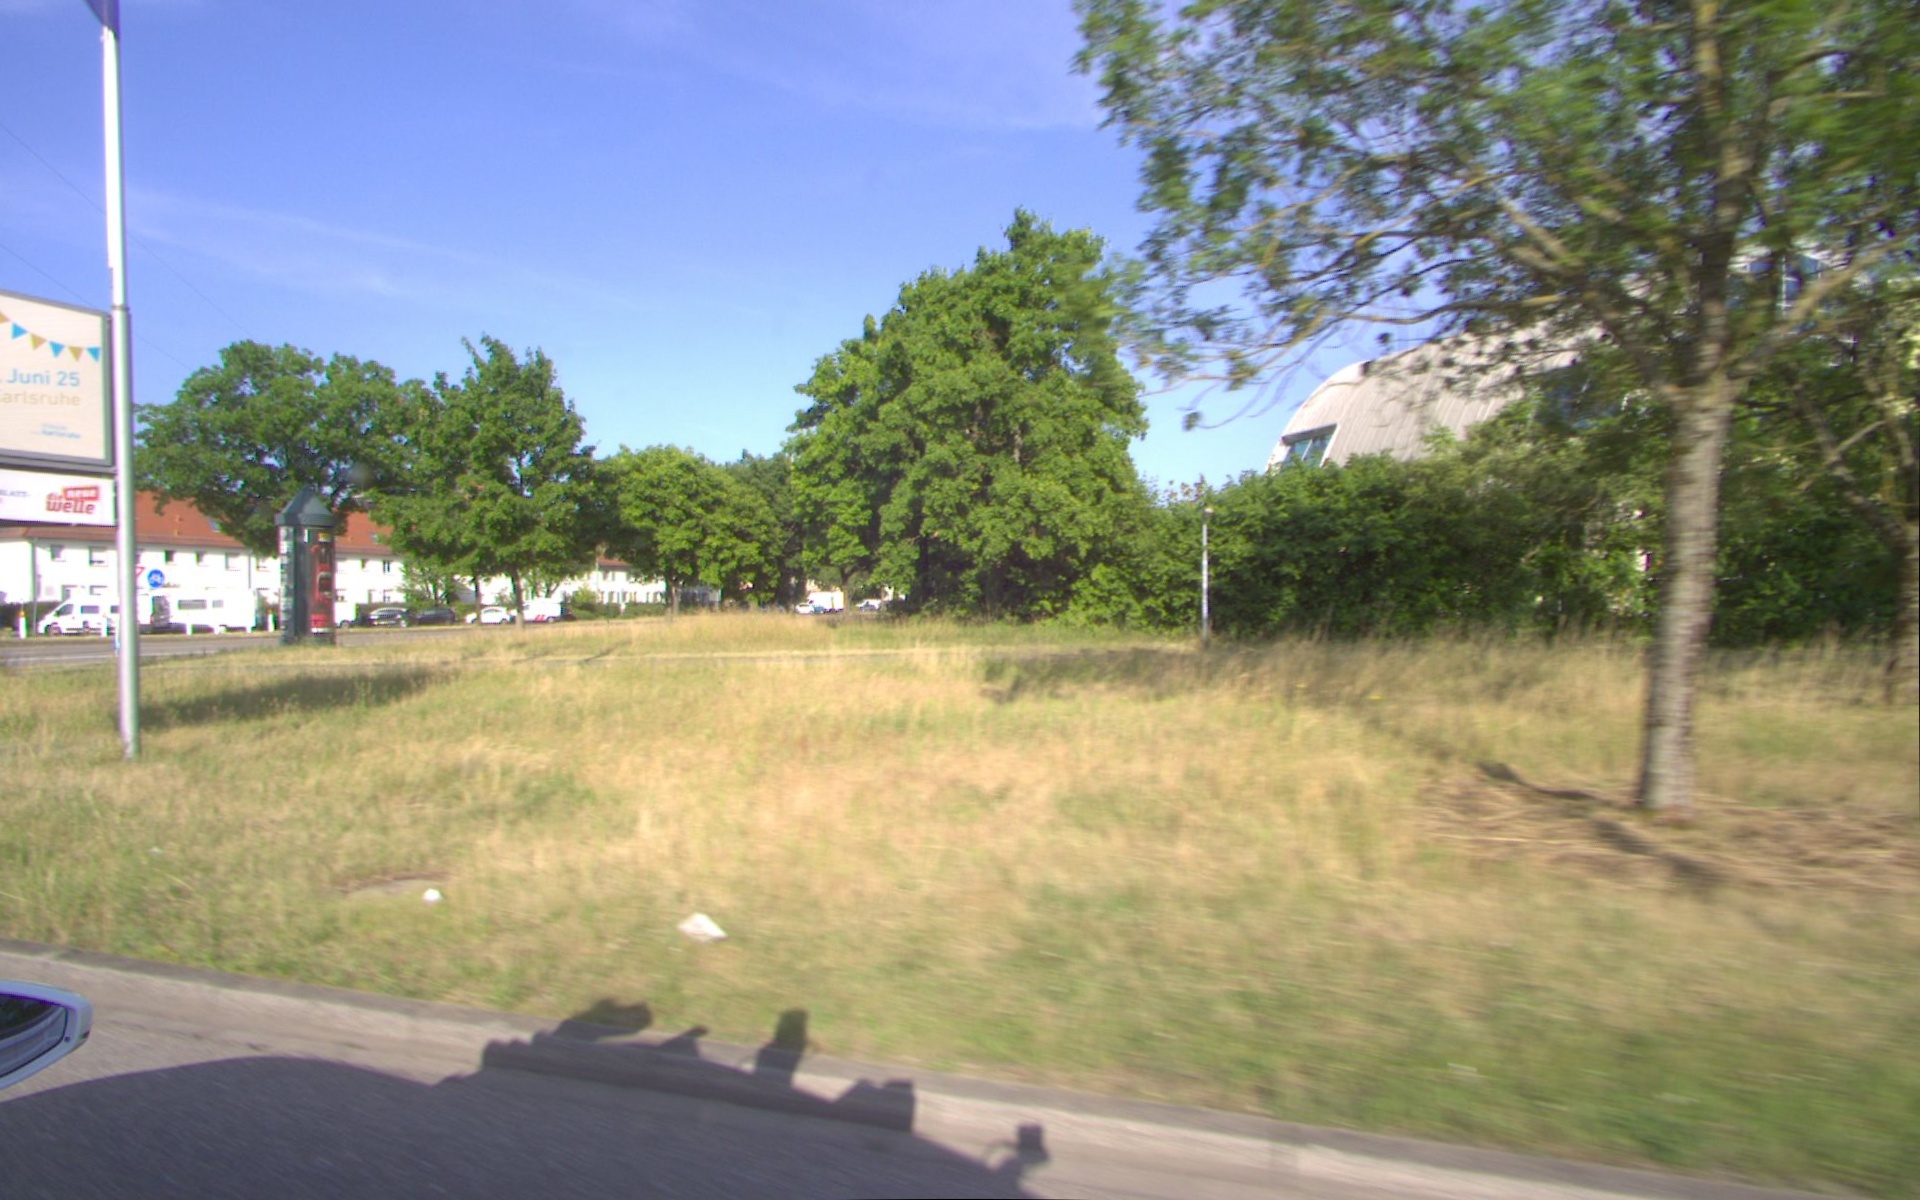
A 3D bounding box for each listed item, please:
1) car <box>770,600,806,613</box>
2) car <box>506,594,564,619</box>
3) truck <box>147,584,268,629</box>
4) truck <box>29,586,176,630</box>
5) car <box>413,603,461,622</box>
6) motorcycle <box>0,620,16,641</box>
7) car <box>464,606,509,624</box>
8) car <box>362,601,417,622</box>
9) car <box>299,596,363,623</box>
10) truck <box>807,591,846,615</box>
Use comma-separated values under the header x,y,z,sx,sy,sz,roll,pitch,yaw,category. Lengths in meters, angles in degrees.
x,y,z,sx,sy,sz,roll,pitch,yaw,category
-23.771,0.830,138.451,4.467,1.746,1.993,0,0,-23,car
-39.638,0.569,93.404,4.901,2.261,1.992,-1,1,-26,car
-49.139,0.404,65.581,5.984,2.892,1.888,-1,1,-26,truck
-50.900,0.497,59.604,6.243,2.557,2.274,0,0,-15,truck
-43.879,1.014,84.055,3.376,1.534,1.890,-1,0,-22,car
-40.526,1.289,41.282,0.678,0.878,2.274,0,0,19,motorcycle
-41.393,1.298,87.557,3.376,1.534,1.890,-1,0,-22,car
-44.450,0.870,78.044,3.441,1.534,1.890,-1,0,-22,car
-46.805,0.689,74.603,3.848,1.945,1.888,-1,0,-26,car
-19.987,0.377,149.606,5.426,3.511,1.989,0,1,-30,truck
